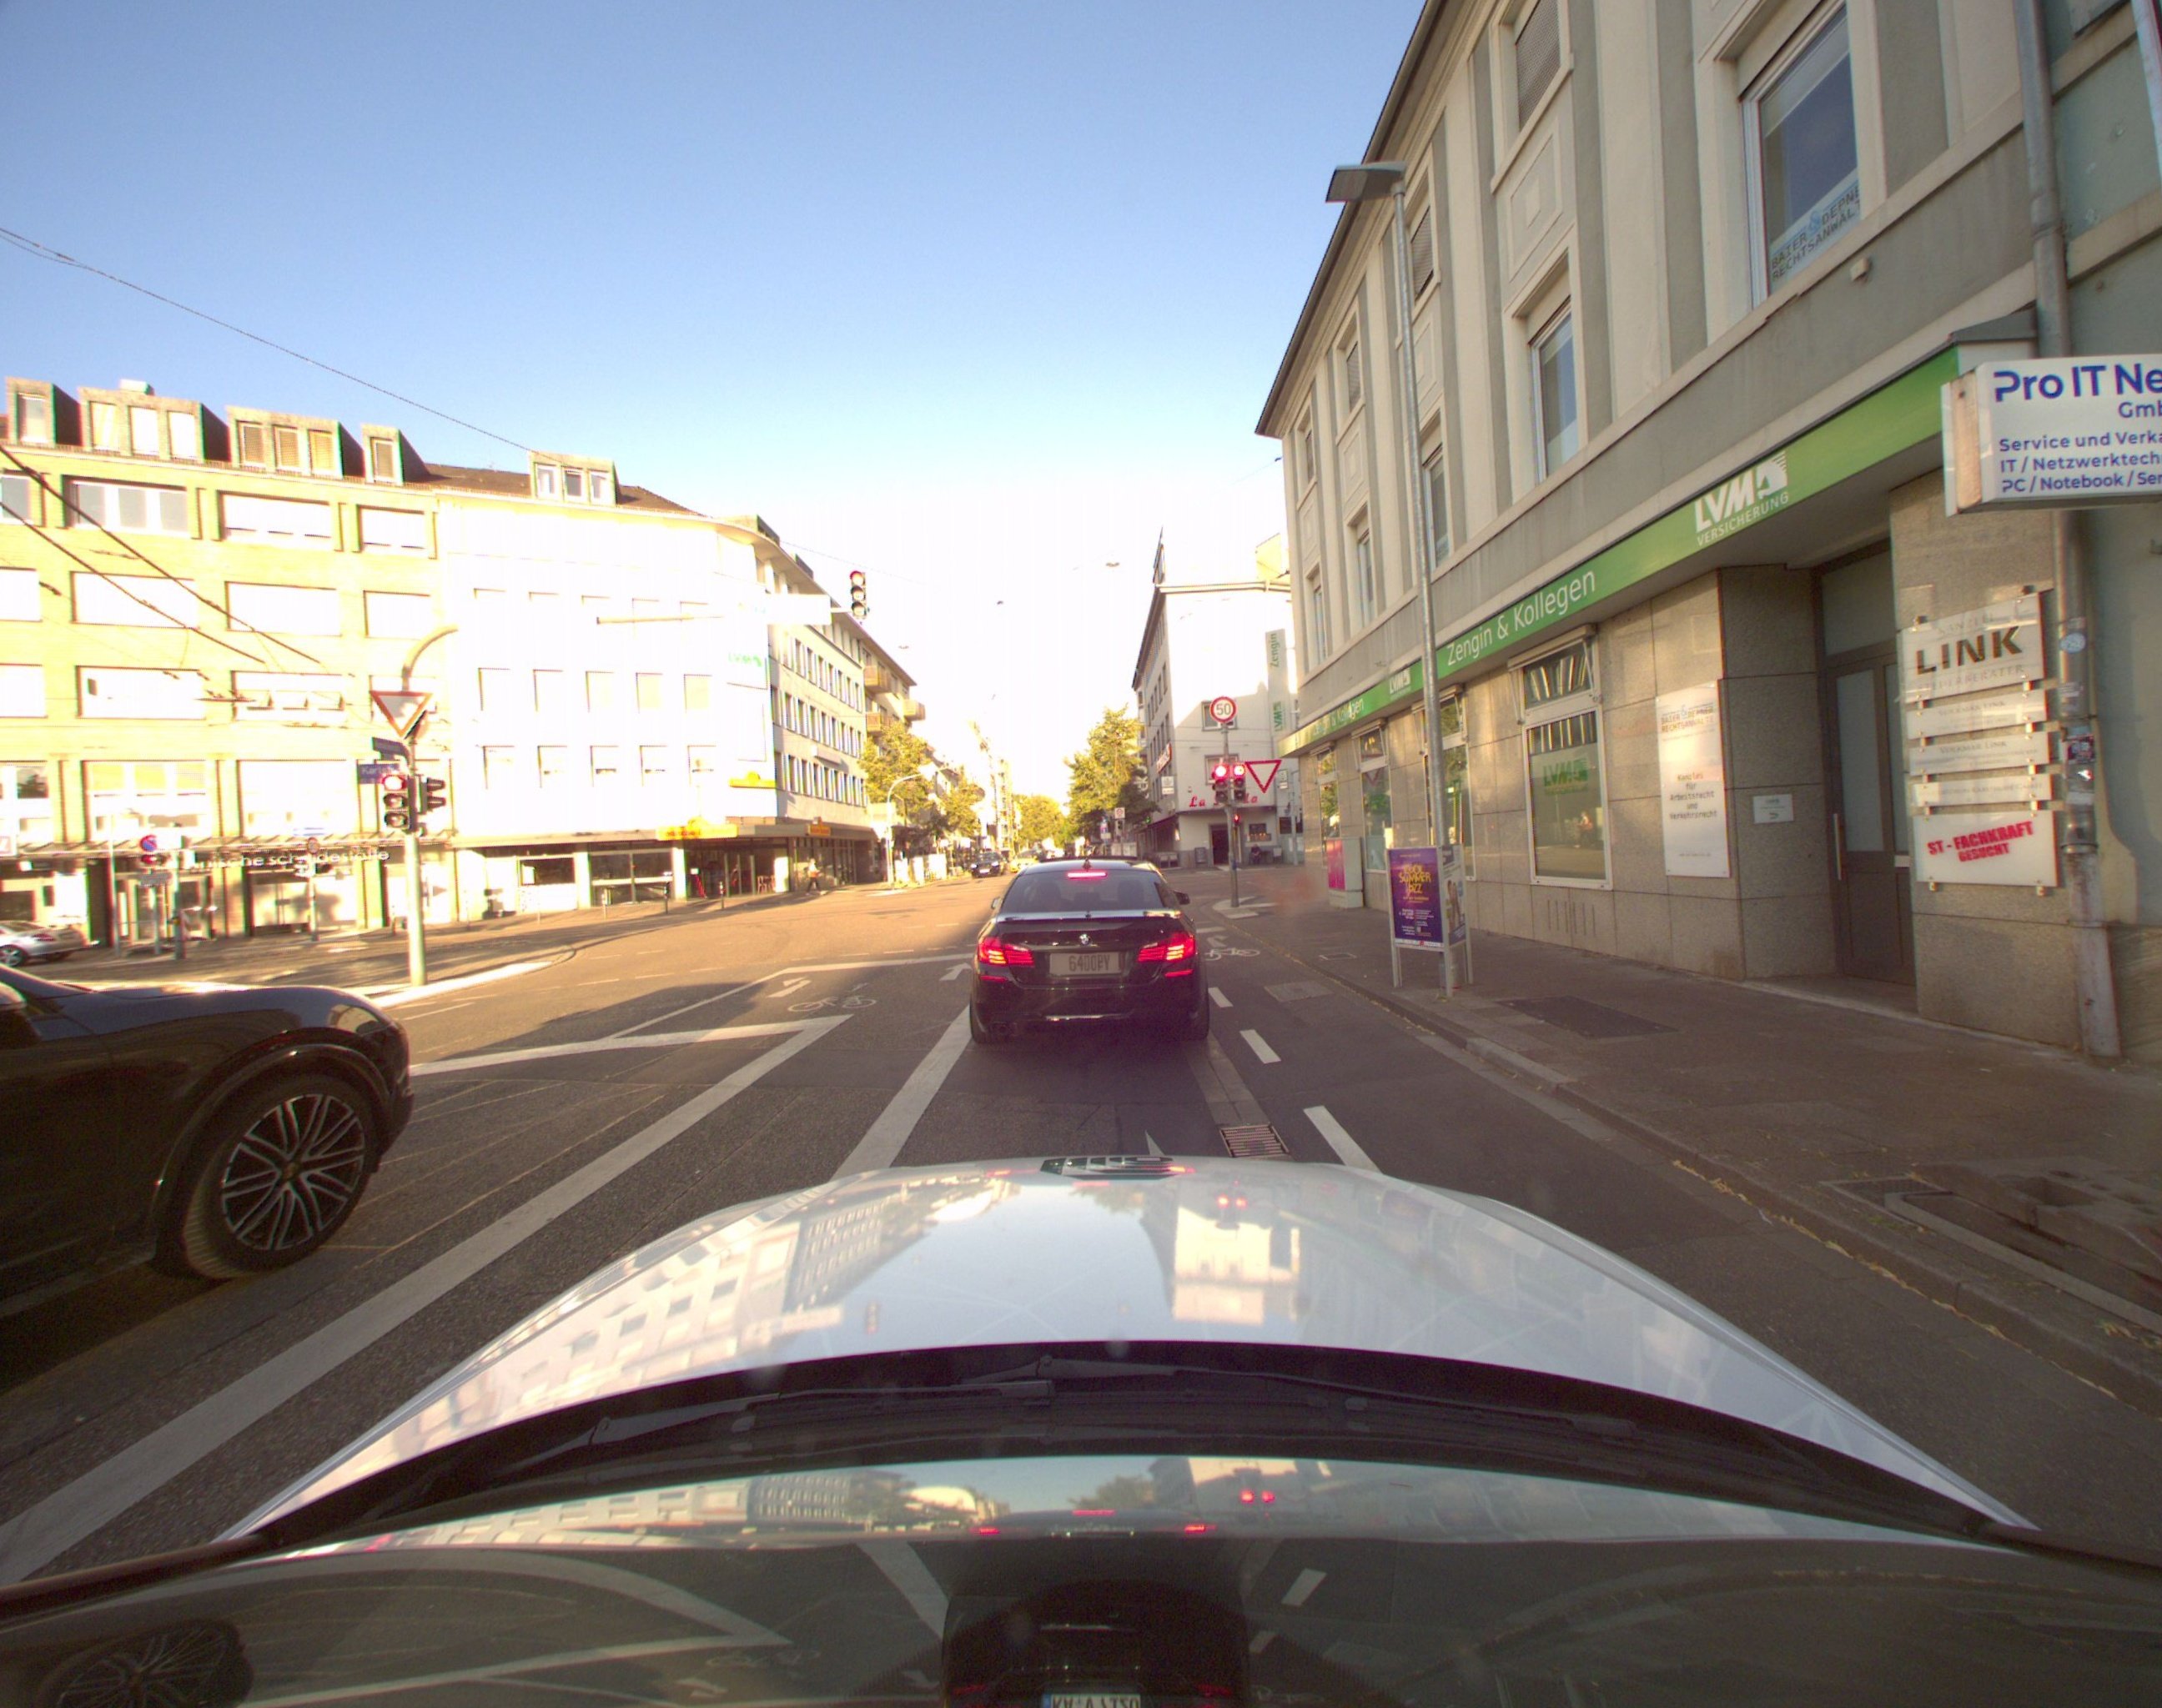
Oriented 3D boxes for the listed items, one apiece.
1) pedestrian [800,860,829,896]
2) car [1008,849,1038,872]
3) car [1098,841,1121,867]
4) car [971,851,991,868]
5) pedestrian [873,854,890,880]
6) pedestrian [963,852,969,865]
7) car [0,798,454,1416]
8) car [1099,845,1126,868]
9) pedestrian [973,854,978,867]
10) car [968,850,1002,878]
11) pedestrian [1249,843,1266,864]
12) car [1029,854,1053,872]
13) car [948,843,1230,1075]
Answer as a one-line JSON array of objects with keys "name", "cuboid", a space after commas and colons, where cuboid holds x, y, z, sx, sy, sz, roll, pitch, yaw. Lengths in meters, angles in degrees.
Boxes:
[{"name": "pedestrian", "cuboid": [-11.997, 1.074, 36.610, 0.953, 1.537, 0.899, -3, 0, -35]}, {"name": "car", "cuboid": [-4.165, 0.455, 57.941, 1.990, 1.442, 3.993, -3, 0, -5]}, {"name": "car", "cuboid": [2.121, -0.016, 61.121, 1.417, 1.854, 3.050, -2, 0, -2]}, {"name": "car", "cuboid": [-9.763, 0.512, 79.436, 1.731, 1.461, 3.993, -3, 0, -5]}, {"name": "pedestrian", "cuboid": [-13.199, 0.869, 54.004, 0.821, 1.676, 0.871, -3, 0, -1]}, {"name": "pedestrian", "cuboid": [-12.570, 0.465, 89.013, 0.443, 1.416, 0.525, -2, 0, -2]}, {"name": "car", "cuboid": [-4.003, 0.767, 1.588, 1.943, 1.714, 4.560, -4, 0, -1]}, {"name": "car", "cuboid": [2.094, 0.177, 54.717, 1.620, 1.471, 3.394, -2, 0, 0]}, {"name": "pedestrian", "cuboid": [-11.640, 0.745, 89.723, 0.443, 1.416, 0.525, -3, 0, -2]}, {"name": "car", "cuboid": [-6.132, 0.594, 52.545, 1.990, 1.618, 3.993, -3, 0, -5]}, {"name": "pedestrian", "cuboid": [10.007, -0.022, 46.239, 0.695, 1.157, 0.843, -3, 0, -1]}, {"name": "car", "cuboid": [-3.189, 0.664, 64.691, 1.731, 1.293, 3.993, -3, 0, -5]}, {"name": "car", "cuboid": [0.043, 0.689, 7.731, 1.898, 1.540, 4.448, -1, 0, -1]}]
